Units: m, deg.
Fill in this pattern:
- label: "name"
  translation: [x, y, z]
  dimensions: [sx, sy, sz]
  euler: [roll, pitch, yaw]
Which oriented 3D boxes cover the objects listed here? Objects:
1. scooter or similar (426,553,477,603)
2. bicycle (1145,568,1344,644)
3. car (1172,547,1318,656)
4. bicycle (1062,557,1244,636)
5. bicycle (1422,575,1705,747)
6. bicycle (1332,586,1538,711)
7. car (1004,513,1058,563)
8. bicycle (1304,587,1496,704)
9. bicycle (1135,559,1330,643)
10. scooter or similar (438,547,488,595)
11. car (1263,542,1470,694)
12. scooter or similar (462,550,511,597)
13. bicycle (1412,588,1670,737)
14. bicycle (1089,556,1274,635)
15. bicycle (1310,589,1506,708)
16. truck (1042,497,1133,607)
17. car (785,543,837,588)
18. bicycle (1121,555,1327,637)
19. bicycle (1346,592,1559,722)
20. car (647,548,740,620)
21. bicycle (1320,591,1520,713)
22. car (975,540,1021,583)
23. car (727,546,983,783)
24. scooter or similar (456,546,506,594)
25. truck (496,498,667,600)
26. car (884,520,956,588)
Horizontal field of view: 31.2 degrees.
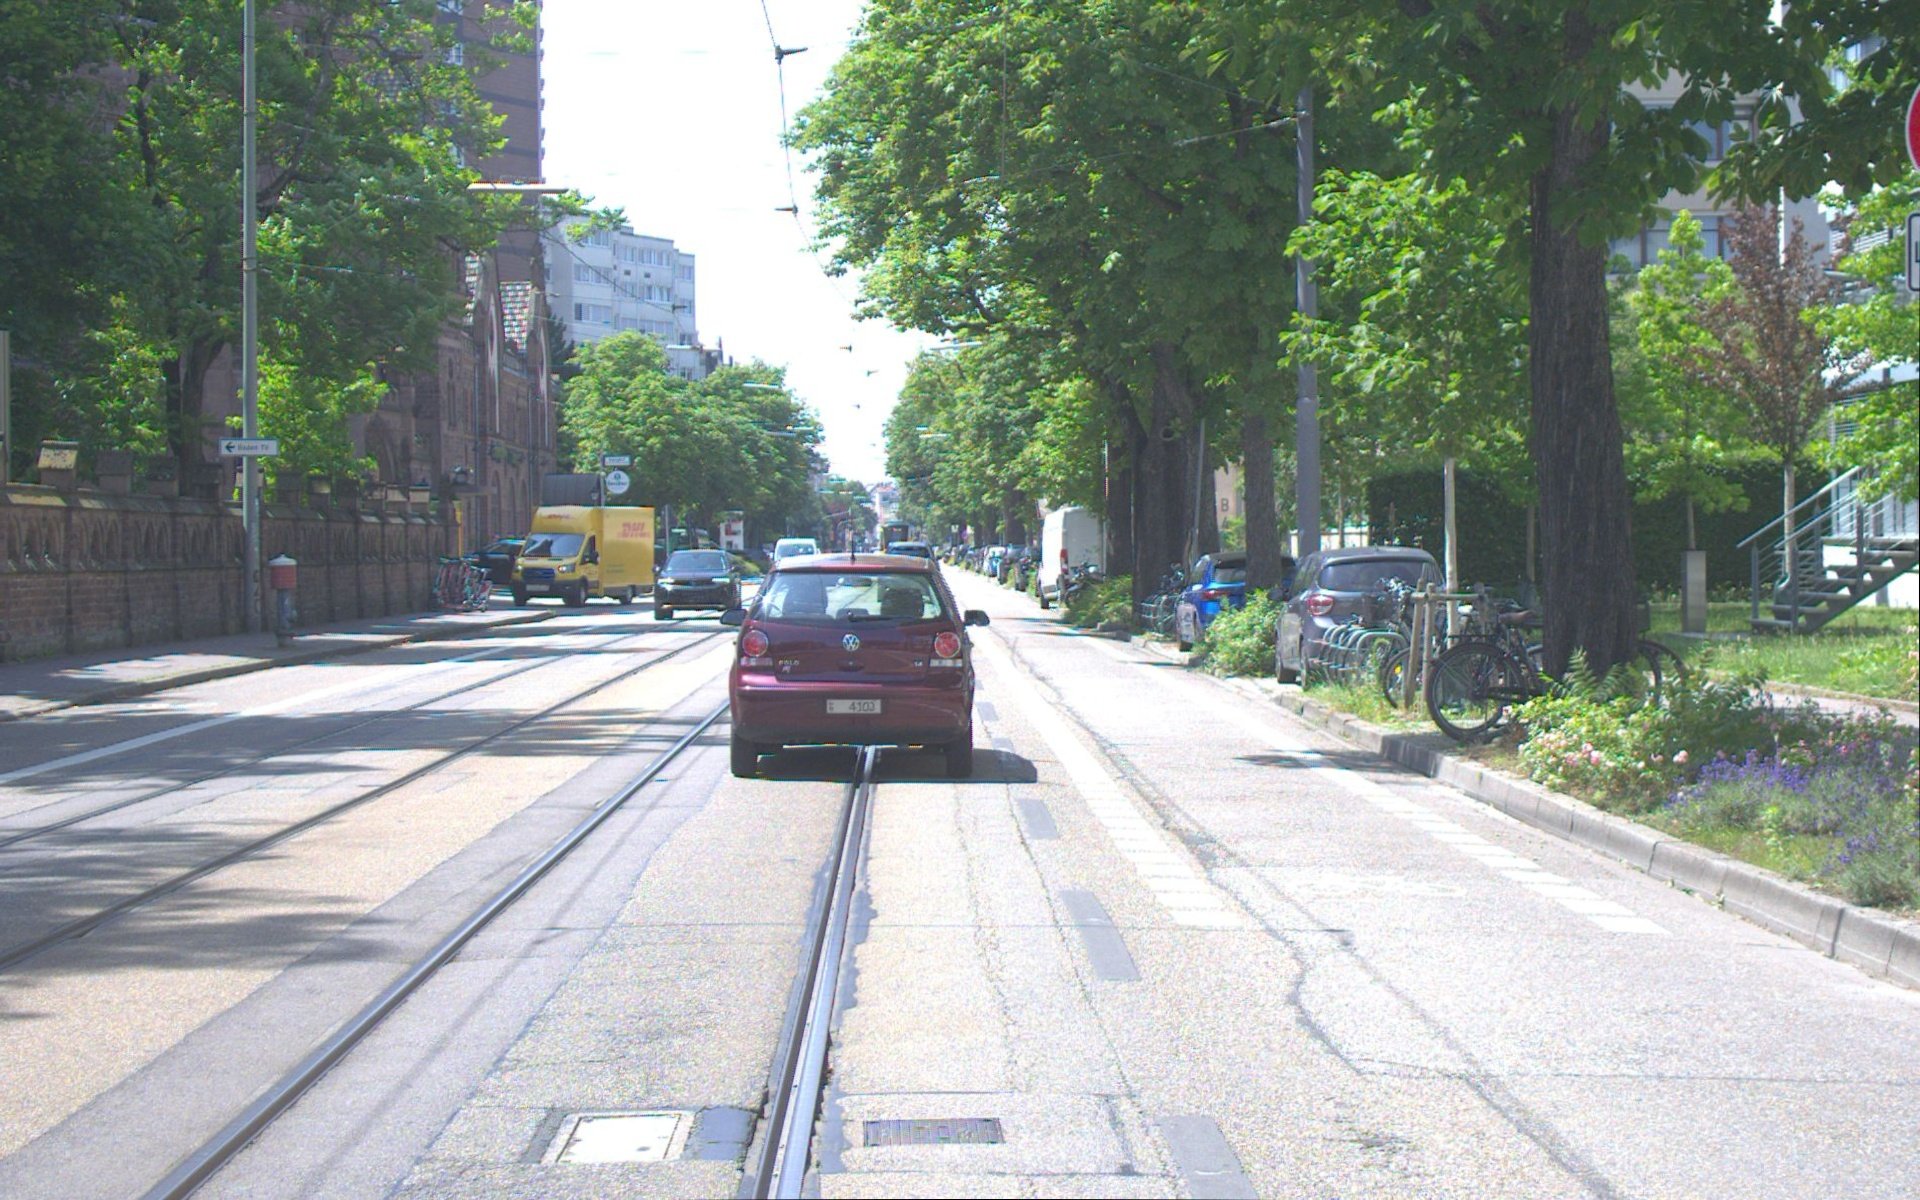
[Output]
- label: "scooter or similar"
  translation: [-11.872, -0.507, 80.257]
  dimensions: [1.088, 1.151, 0.527]
  euler: [0, 1, -21]
- label: "bicycle"
  translation: [4.519, 0.090, 54.681]
  dimensions: [3.069, 1.150, 0.782]
  euler: [1, 1, -2]
- label: "car"
  translation: [4.028, -0.009, 49.086]
  dimensions: [1.688, 1.463, 3.880]
  euler: [-1, 1, -1]
- label: "bicycle"
  translation: [3.343, -0.065, 59.751]
  dimensions: [3.069, 1.308, 0.782]
  euler: [1, 1, -2]
- label: "bicycle"
  translation: [4.313, 0.427, 24.653]
  dimensions: [1.883, 1.178, 0.694]
  euler: [-1, 0, -1]
- label: "bicycle"
  translation: [4.232, 0.425, 30.712]
  dimensions: [1.751, 1.081, 0.548]
  euler: [-1, 1, -1]
- label: "car"
  translation: [2.419, -2.128, 118.057]
  dimensions: [1.674, 1.651, 4.000]
  euler: [1, 1, -1]
- label: "bicycle"
  translation: [4.202, 0.433, 32.857]
  dimensions: [1.751, 1.081, 0.548]
  euler: [-1, 1, -1]
- label: "bicycle"
  translation: [4.424, 0.006, 55.898]
  dimensions: [3.069, 1.308, 0.782]
  euler: [1, 1, -2]
- label: "scooter or similar"
  translation: [-11.975, -0.703, 82.797]
  dimensions: [1.088, 1.151, 0.527]
  euler: [0, 1, -21]
- label: "car"
  translation: [4.324, 0.155, 36.996]
  dimensions: [1.688, 1.498, 3.628]
  euler: [-2, 1, -1]
- label: "scooter or similar"
  translation: [-11.616, -0.652, 84.326]
  dimensions: [1.088, 1.151, 0.527]
  euler: [0, 1, -21]
- label: "bicycle"
  translation: [4.363, 0.468, 25.897]
  dimensions: [1.825, 1.081, 0.718]
  euler: [-1, 0, 3]
- label: "bicycle"
  translation: [3.790, -0.080, 58.913]
  dimensions: [3.069, 1.308, 0.782]
  euler: [1, 1, -2]
- label: "bicycle"
  translation: [4.194, 0.451, 32.209]
  dimensions: [1.751, 1.081, 0.548]
  euler: [-1, 1, -1]
- label: "truck"
  translation: [3.169, -1.233, 86.425]
  dimensions: [1.993, 2.652, 4.875]
  euler: [1, 1, -1]
- label: "car"
  translation: [-6.216, -1.452, 143.825]
  dimensions: [1.993, 1.848, 4.682]
  euler: [-1, 1, -1]
- label: "bicycle"
  translation: [4.441, -0.070, 57.907]
  dimensions: [3.367, 1.308, 0.782]
  euler: [1, 1, -2]
- label: "bicycle"
  translation: [4.244, 0.489, 29.685]
  dimensions: [1.751, 1.081, 0.548]
  euler: [-1, 1, -1]
- label: "car"
  translation: [-5.838, -0.371, 75.783]
  dimensions: [1.770, 1.510, 4.000]
  euler: [-1, 1, -1]
- label: "bicycle"
  translation: [4.222, 0.471, 31.612]
  dimensions: [1.751, 1.081, 0.548]
  euler: [-1, 1, -1]
- label: "car"
  translation: [1.484, -1.521, 134.972]
  dimensions: [1.674, 1.651, 4.000]
  euler: [1, 1, -1]
- label: "car"
  translation: [-0.718, 0.380, 23.945]
  dimensions: [1.619, 1.481, 4.000]
  euler: [-1, 1, -1]
- label: "scooter or similar"
  translation: [-11.662, -0.723, 83.667]
  dimensions: [1.088, 1.151, 0.527]
  euler: [0, 1, -21]
- label: "truck"
  translation: [-10.745, -1.477, 98.292]
  dimensions: [2.371, 2.777, 7.315]
  euler: [0, 1, 15]
- label: "car"
  translation: [-1.236, -1.430, 104.833]
  dimensions: [1.993, 2.007, 4.001]
  euler: [1, 1, -3]
